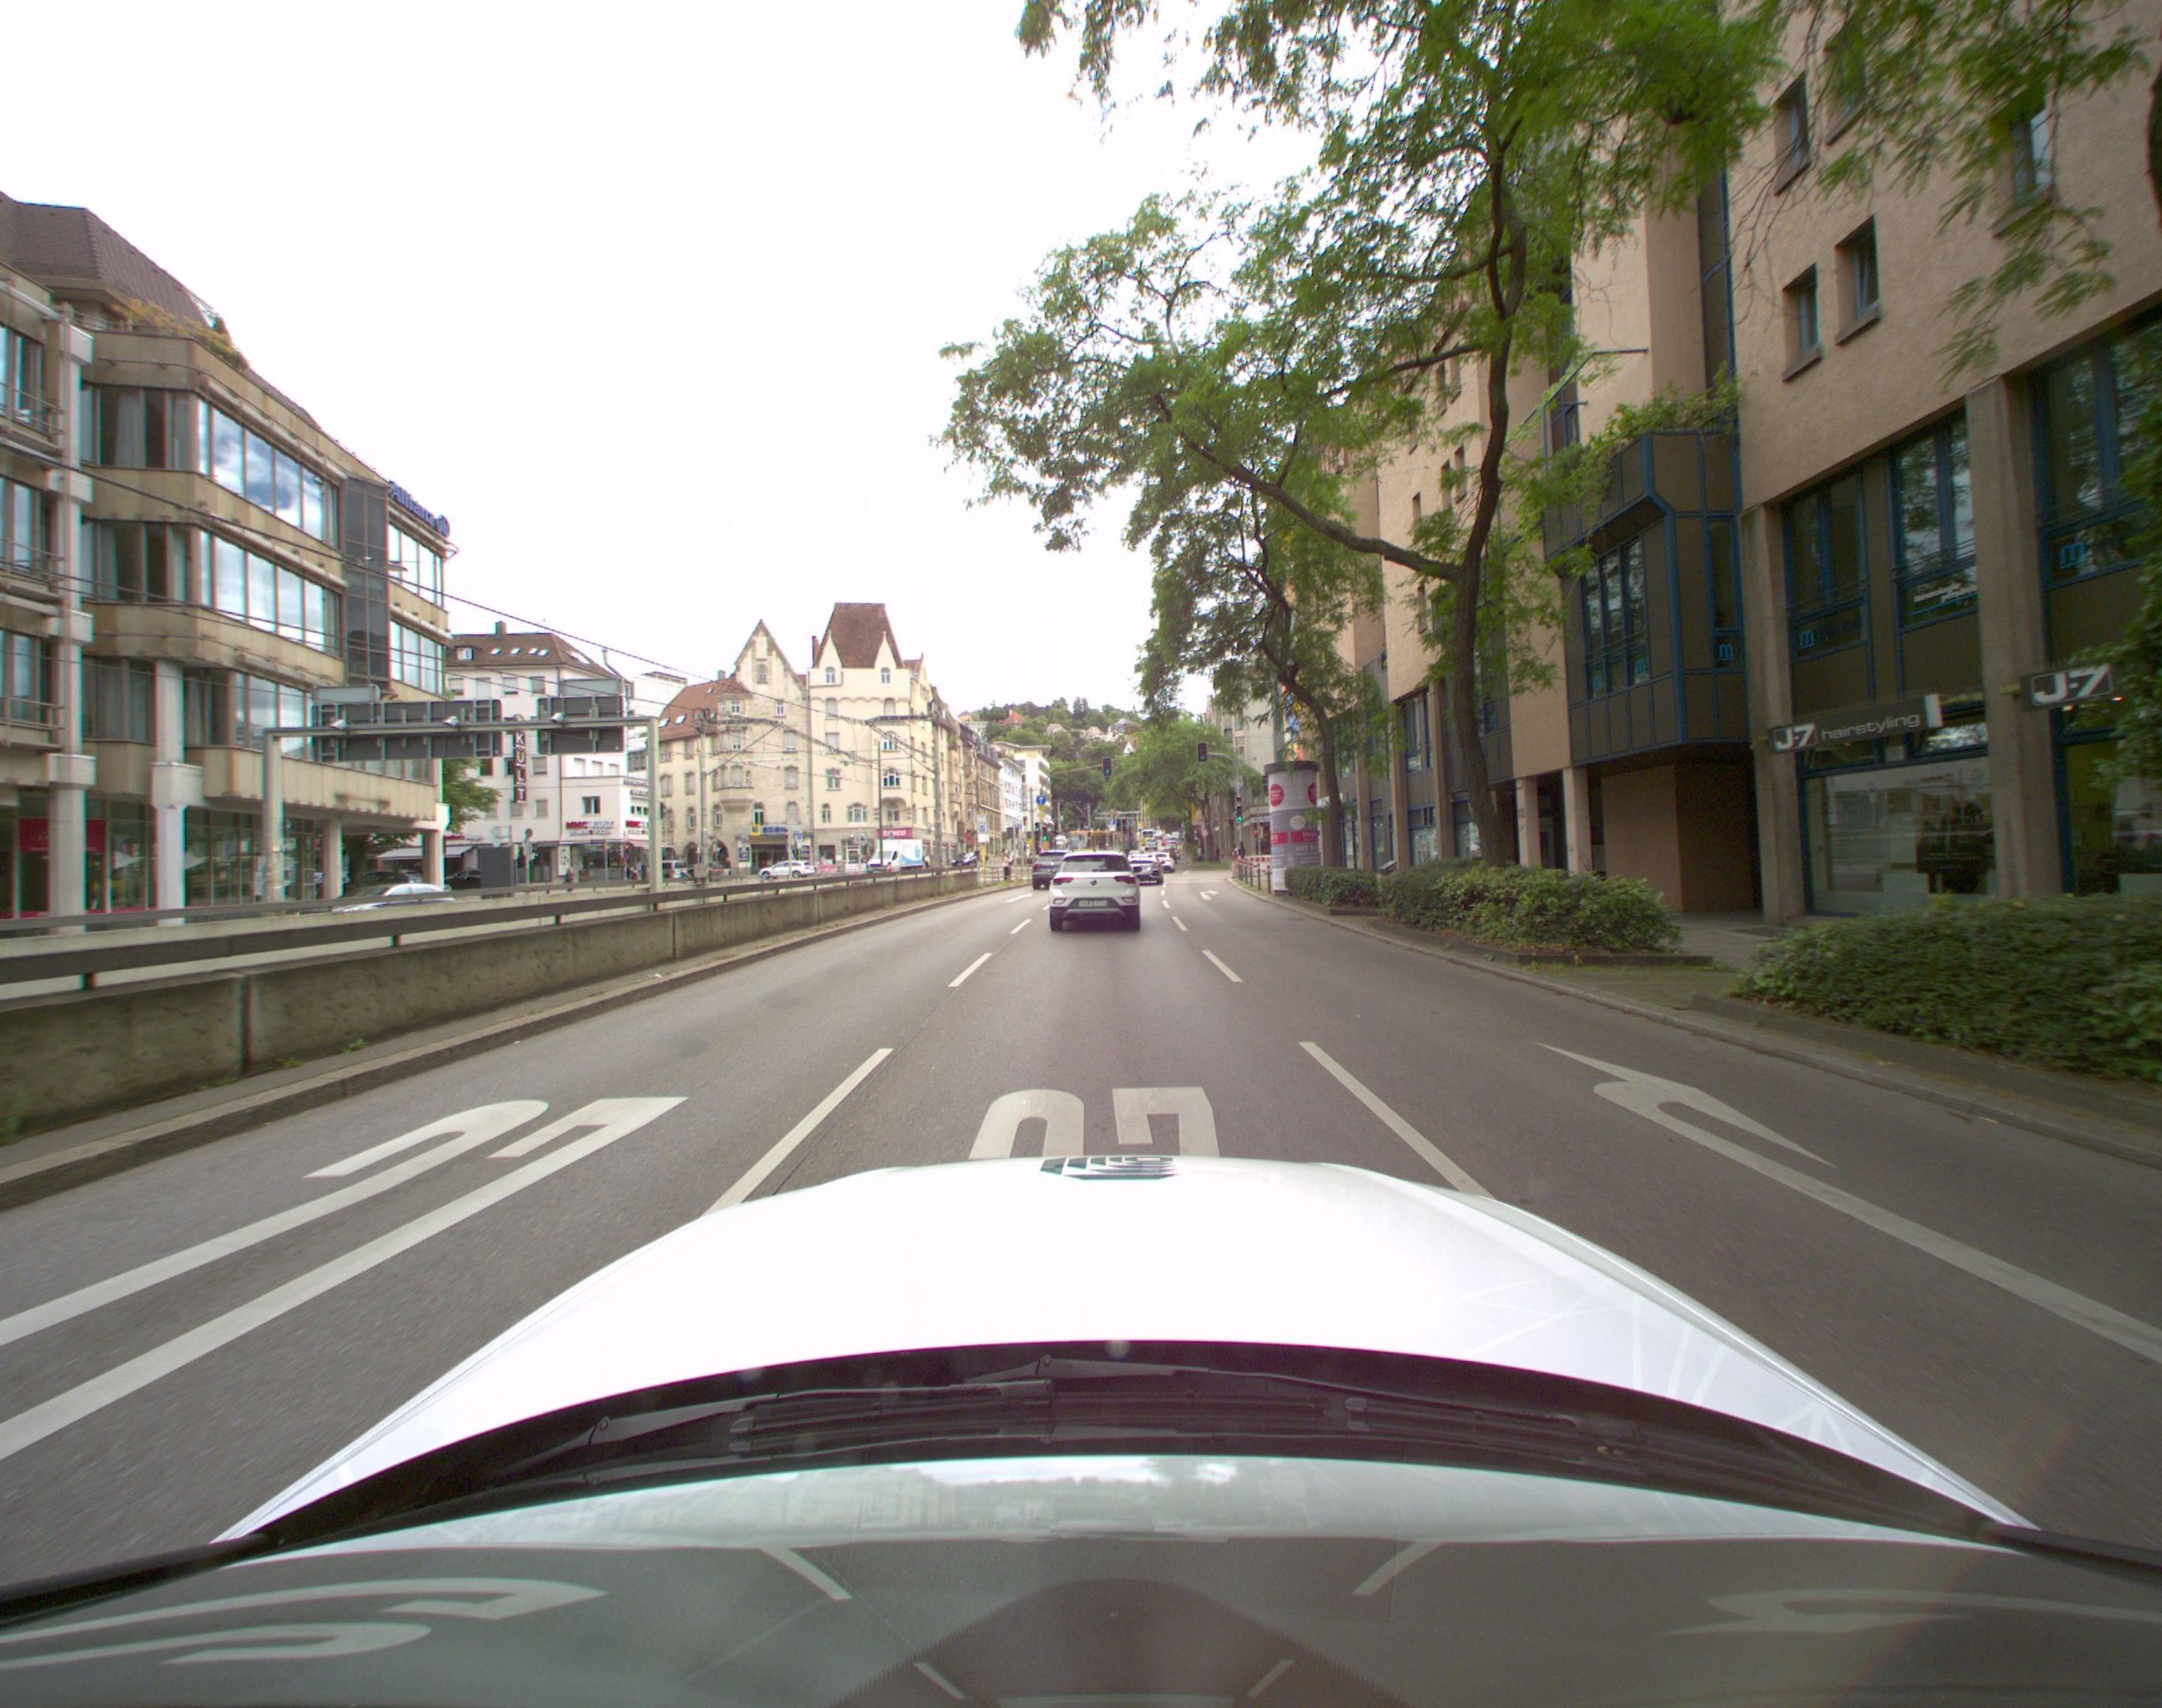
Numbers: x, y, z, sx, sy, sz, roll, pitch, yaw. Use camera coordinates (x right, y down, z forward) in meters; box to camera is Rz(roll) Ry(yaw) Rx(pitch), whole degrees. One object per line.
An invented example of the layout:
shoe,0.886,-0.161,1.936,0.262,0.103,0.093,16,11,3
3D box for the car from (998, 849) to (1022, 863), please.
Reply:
car,-8.492,0.205,97.661,1.646,1.552,4.550,-1,0,12

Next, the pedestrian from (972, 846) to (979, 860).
pedestrian,-14.320,-0.142,110.808,0.632,1.762,0.837,-1,0,-36

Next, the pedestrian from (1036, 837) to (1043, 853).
pedestrian,-4.660,-1.016,92.267,0.623,1.762,0.848,-1,0,7

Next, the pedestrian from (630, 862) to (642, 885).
pedestrian,-34.437,1.503,63.081,0.505,1.780,0.580,-1,0,18

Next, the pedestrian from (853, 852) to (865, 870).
pedestrian,-21.514,0.654,78.929,0.777,1.705,0.655,-1,0,12

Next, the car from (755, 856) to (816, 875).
car,-25.259,0.997,69.714,4.483,1.560,1.755,0,0,1

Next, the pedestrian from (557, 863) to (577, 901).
pedestrian,-24.691,1.324,39.106,0.507,1.780,0.578,-1,0,9

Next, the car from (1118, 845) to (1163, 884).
car,2.803,0.450,37.709,1.875,1.684,4.169,0,0,7

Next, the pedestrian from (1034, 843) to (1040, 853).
pedestrian,-5.220,-0.681,96.402,0.632,1.107,0.691,-1,1,6

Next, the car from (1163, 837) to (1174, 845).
car,19.073,-2.903,177.039,1.872,1.684,4.176,0,0,13

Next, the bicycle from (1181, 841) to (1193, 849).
bicycle,17.588,-1.461,134.742,1.866,1.266,0.768,0,0,17

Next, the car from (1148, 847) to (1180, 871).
car,5.988,0.376,59.299,1.879,1.684,4.160,0,0,0

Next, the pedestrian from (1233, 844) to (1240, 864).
pedestrian,13.888,-0.031,72.652,0.516,1.789,0.765,0,0,2

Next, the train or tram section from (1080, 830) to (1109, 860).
train or tram section,1.651,-1.075,97.872,2.820,3.520,5.764,0,1,7

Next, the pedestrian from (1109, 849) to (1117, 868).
pedestrian,3.002,0.410,76.719,0.632,1.711,0.873,-1,1,6

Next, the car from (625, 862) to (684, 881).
car,-37.349,1.528,71.329,4.466,1.560,1.762,0,0,15

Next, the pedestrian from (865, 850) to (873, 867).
pedestrian,-19.746,0.421,75.790,0.572,1.582,0.512,-1,0,5

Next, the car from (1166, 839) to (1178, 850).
car,14.106,-1.505,125.844,1.875,1.684,4.169,0,0,7

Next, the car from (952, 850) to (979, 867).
car,-12.533,0.496,88.447,1.665,1.759,4.791,0,0,7

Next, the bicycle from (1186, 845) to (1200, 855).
bicycle,14.118,-0.511,102.904,1.610,1.128,0.615,-4,0,10

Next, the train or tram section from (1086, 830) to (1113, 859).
train or tram section,2.388,-1.200,103.619,2.820,3.520,5.764,0,1,7

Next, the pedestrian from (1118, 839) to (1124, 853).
pedestrian,5.080,-1.027,104.499,0.713,1.730,0.672,0,0,8

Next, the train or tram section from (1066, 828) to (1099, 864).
train or tram section,0.235,-0.854,86.414,2.820,3.678,5.764,0,1,7

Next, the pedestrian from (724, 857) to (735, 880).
pedestrian,-28.325,1.154,65.604,0.505,1.780,0.580,-1,0,18

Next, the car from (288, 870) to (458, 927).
car,-22.035,1.329,25.571,1.657,1.501,4.045,-2,0,2

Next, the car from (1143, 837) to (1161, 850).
car,11.547,-1.738,132.178,2.350,2.013,5.162,0,0,10

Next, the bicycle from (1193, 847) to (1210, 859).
bicycle,12.952,-0.159,87.618,1.702,1.184,0.448,-4,0,-1

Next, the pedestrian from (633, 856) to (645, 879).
pedestrian,-35.370,1.071,65.141,0.505,1.780,0.601,-1,0,18

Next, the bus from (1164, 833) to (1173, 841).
bus,21.507,-4.197,200.724,1.986,2.013,4.002,0,0,2

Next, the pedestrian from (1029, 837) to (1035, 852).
pedestrian,-5.648,-1.054,93.353,0.634,1.711,0.689,-2,1,-2

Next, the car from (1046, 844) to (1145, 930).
car,0.271,0.620,17.303,1.831,1.584,4.156,0,0,0

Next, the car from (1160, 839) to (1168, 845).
car,16.300,-2.288,159.692,1.574,1.172,3.685,0,0,6

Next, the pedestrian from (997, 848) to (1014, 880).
pedestrian,-4.034,0.539,43.730,0.760,1.721,0.638,-1,0,6

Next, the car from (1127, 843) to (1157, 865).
car,5.865,-0.039,77.819,2.350,2.013,5.162,0,0,10

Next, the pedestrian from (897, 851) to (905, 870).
pedestrian,-17.144,0.655,77.491,0.505,1.780,0.580,-1,0,21

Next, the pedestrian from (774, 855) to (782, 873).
pedestrian,-30.644,0.982,82.413,0.574,1.780,0.510,-1,0,-7

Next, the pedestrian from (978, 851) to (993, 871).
pedestrian,-8.324,0.596,70.954,0.866,1.705,0.817,-1,0,35

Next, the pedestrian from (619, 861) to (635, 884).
pedestrian,-34.867,1.405,62.495,0.777,1.705,0.655,-1,0,12

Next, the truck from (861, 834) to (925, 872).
truck,-15.940,-0.115,69.545,2.251,3.076,7.401,0,0,13

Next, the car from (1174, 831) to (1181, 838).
car,22.884,-4.633,193.465,1.665,1.560,3.685,0,0,6

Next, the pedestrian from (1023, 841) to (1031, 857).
pedestrian,-5.906,-0.507,89.190,0.684,1.711,0.663,-1,1,5

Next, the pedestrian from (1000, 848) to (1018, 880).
pedestrian,-3.944,0.518,44.511,0.788,1.721,0.774,-1,0,6

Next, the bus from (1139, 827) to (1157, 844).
bus,13.872,-3.755,168.008,3.354,3.064,13.348,0,0,6

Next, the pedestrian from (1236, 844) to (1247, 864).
pedestrian,13.947,-0.004,70.696,0.756,1.612,0.621,-3,3,18

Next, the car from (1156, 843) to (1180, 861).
car,10.098,-0.200,95.115,2.356,2.013,5.150,0,0,2

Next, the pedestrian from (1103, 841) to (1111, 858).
pedestrian,2.631,-0.428,81.554,0.682,1.711,0.713,-1,1,6

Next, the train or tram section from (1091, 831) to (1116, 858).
train or tram section,3.102,-1.306,109.346,2.820,3.520,5.764,0,1,7

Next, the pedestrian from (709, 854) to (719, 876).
pedestrian,-29.919,0.862,66.391,0.569,1.780,0.515,-1,0,32

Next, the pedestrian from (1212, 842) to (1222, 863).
pedestrian,12.626,-0.144,75.710,0.718,1.802,0.835,-4,2,2

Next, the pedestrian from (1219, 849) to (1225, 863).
pedestrian,12.963,0.179,74.753,0.469,1.333,0.520,0,0,2

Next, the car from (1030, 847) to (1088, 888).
car,-0.899,0.538,35.250,1.984,1.636,4.006,-1,0,6

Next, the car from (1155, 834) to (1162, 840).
car,19.399,-4.264,204.523,1.665,1.560,3.994,0,0,6

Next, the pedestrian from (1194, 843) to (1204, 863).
pedestrian,11.171,-0.078,77.125,0.690,1.777,0.690,-6,0,2

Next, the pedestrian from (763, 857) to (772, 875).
pedestrian,-31.278,1.176,81.240,0.580,1.780,0.505,-1,0,-44

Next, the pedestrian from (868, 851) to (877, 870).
pedestrian,-19.639,0.619,76.654,0.571,1.780,0.513,-1,0,11
